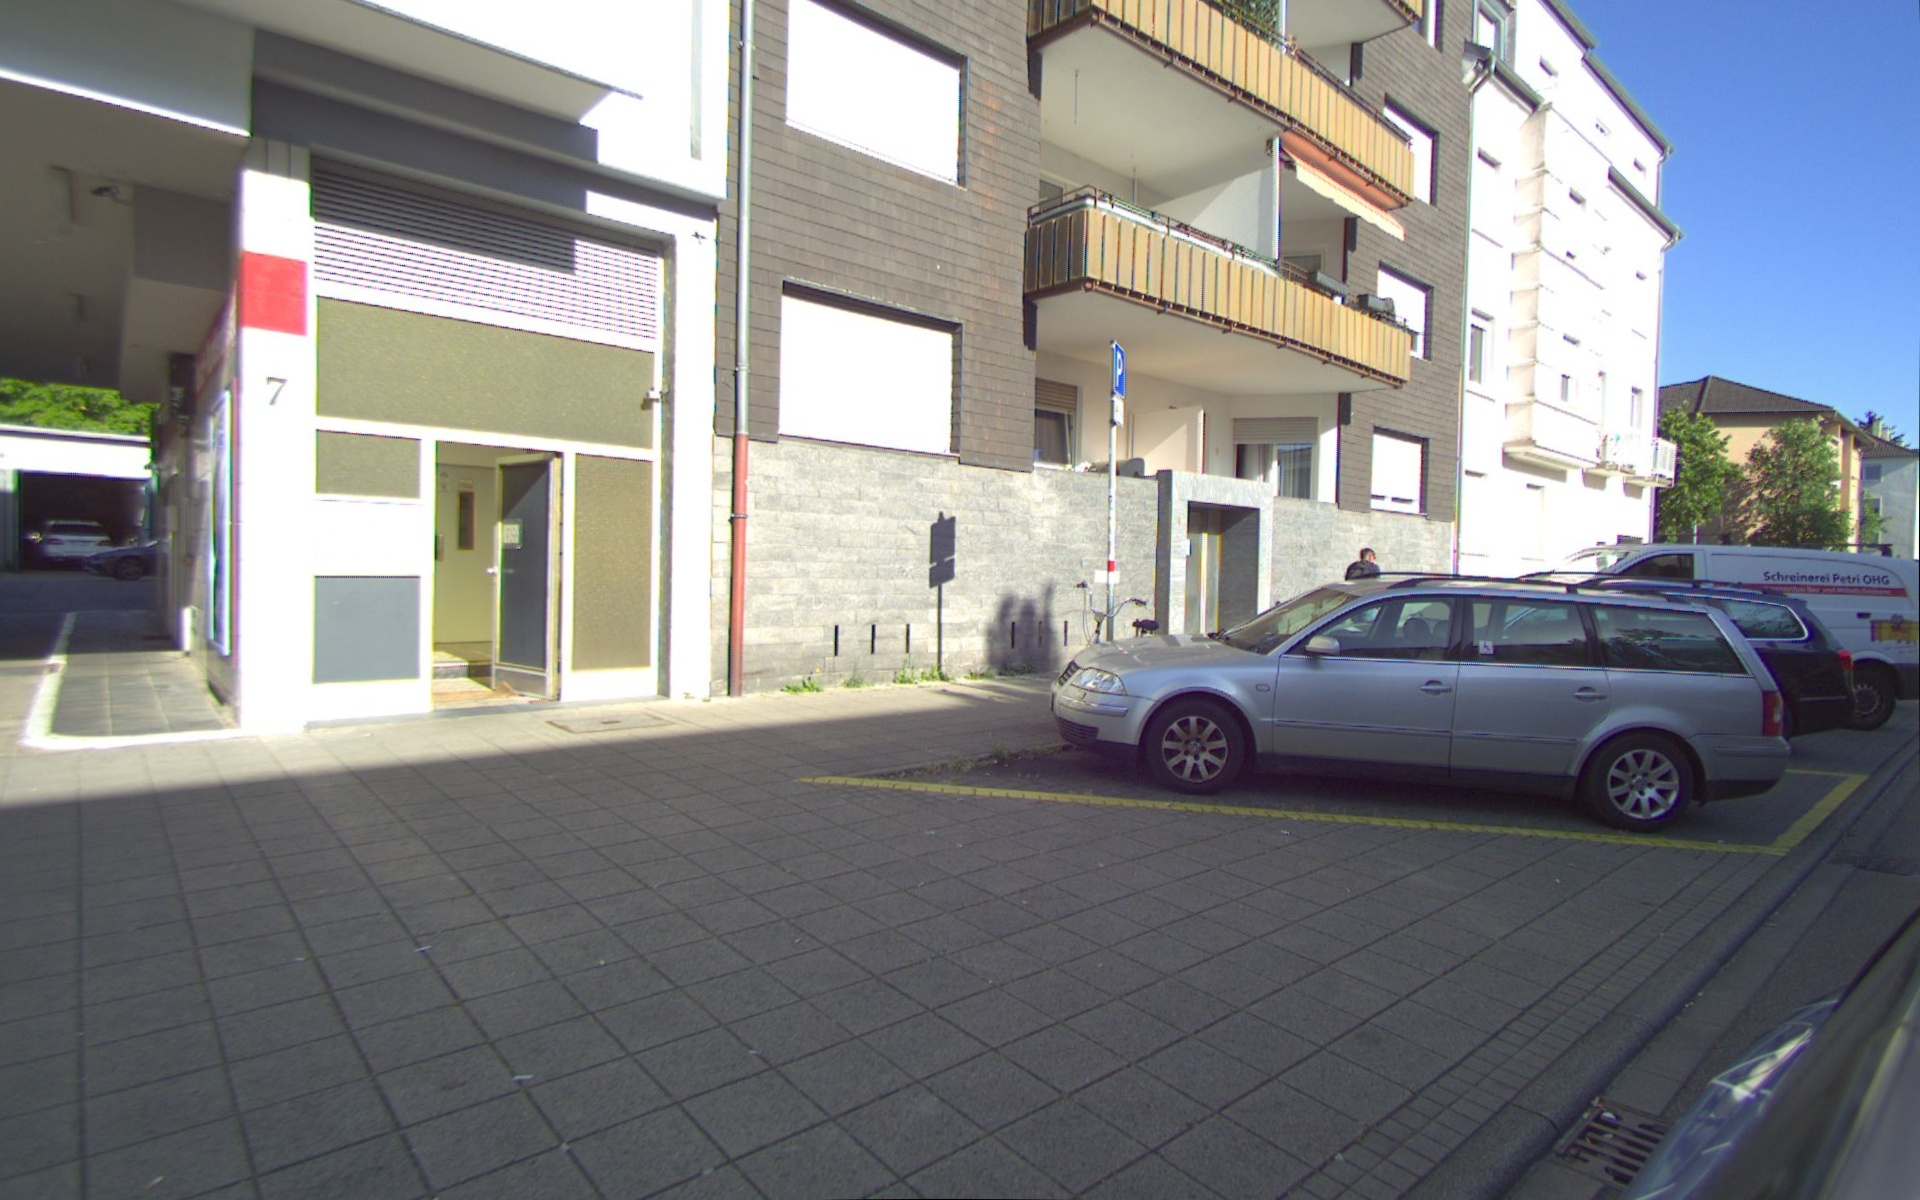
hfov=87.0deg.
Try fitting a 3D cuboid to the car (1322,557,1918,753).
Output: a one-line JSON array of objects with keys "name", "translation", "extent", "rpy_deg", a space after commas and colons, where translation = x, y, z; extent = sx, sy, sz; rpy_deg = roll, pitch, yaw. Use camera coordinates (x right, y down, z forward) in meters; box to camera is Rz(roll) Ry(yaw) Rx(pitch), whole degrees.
[{"name": "car", "translation": [5.822, 0.417, 9.411], "extent": [4.249, 1.531, 1.756], "rpy_deg": [1, 3, 4]}]

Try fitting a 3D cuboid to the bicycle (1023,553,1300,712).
[{"name": "bicycle", "translation": [1.730, 0.283, 8.749], "extent": [2.214, 1.269, 0.708], "rpy_deg": [2, 0, -14]}]

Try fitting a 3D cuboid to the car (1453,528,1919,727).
[{"name": "car", "translation": [8.522, 0.210, 11.770], "extent": [4.454, 1.920, 2.047], "rpy_deg": [3, 4, 8]}]

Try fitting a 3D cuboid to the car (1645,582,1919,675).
[{"name": "car", "translation": [13.577, 0.428, 16.743], "extent": [3.341, 1.405, 1.537], "rpy_deg": [1, 1, 9]}]

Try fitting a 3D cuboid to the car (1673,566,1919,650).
[{"name": "car", "translation": [18.384, 0.169, 21.500], "extent": [4.803, 1.481, 1.965], "rpy_deg": [4, 2, 14]}]

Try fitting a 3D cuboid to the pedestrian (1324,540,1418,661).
[{"name": "pedestrian", "translation": [5.715, -0.021, 14.089], "extent": [0.872, 1.613, 0.835], "rpy_deg": [0, 3, -36]}]

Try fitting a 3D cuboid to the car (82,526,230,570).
[{"name": "car", "translation": [-22.829, -1.489, 28.777], "extent": [3.168, 1.182, 1.997], "rpy_deg": [-4, 4, -41]}]

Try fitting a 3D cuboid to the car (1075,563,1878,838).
[{"name": "car", "translation": [3.124, 0.552, 7.000], "extent": [4.567, 1.483, 1.689], "rpy_deg": [1, 3, 7]}]

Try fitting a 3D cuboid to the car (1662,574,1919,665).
[{"name": "car", "translation": [15.964, 0.315, 19.000], "extent": [4.111, 1.515, 1.816], "rpy_deg": [1, 3, 15]}]

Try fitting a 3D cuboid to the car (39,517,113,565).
[{"name": "car", "translation": [-32.001, -2.074, 36.592], "extent": [1.885, 1.605, 3.991], "rpy_deg": [0, 2, -43]}]
